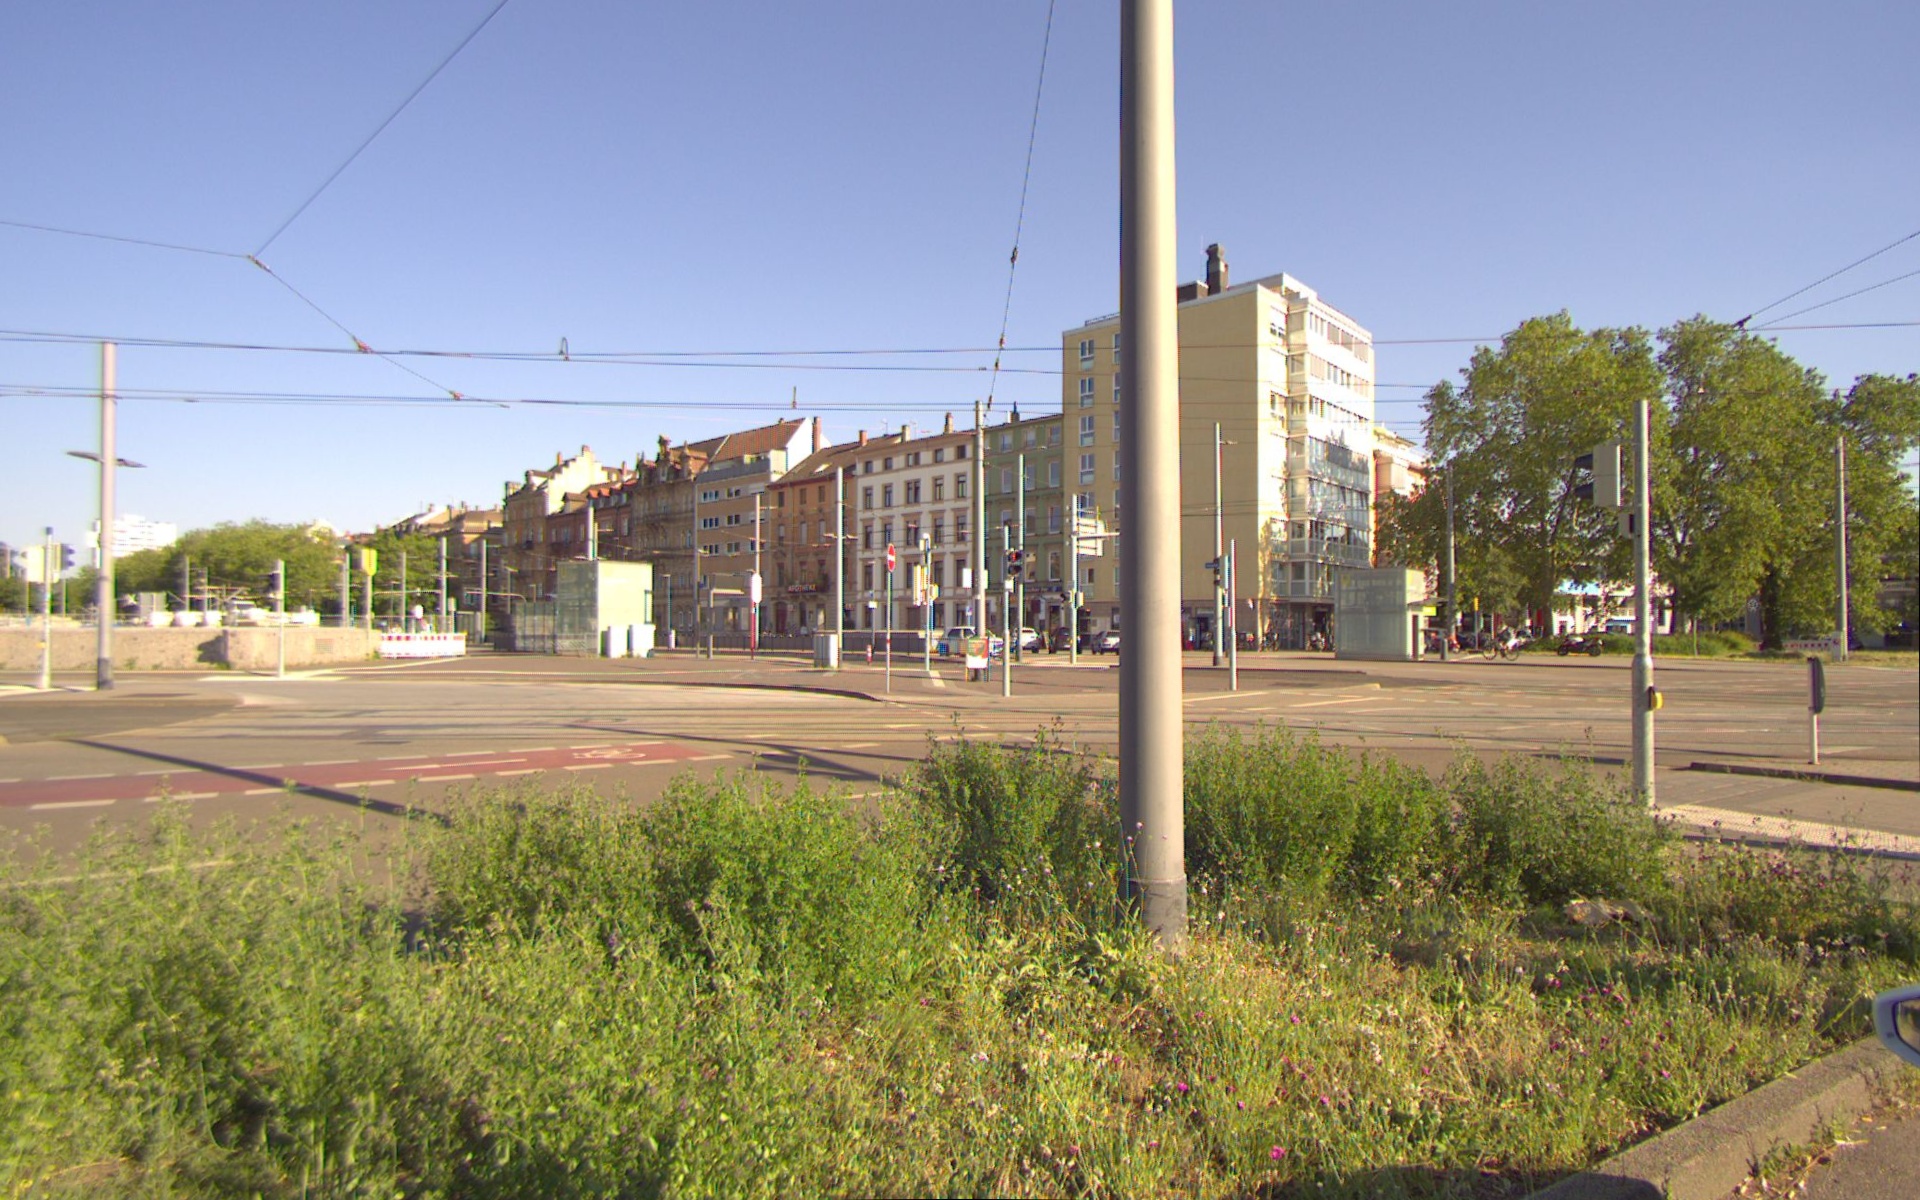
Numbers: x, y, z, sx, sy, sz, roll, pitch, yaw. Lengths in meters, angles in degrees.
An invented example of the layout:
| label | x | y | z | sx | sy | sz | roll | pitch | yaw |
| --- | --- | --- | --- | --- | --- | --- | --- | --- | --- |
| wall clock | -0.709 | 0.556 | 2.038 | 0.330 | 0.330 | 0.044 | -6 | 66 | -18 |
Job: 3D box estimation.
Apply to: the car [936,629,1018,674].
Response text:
| label | x | y | z | sx | sy | sz | roll | pitch | yaw |
| --- | --- | --- | --- | --- | --- | --- | --- | --- | --- |
| car | 0.828 | 2.530 | 49.775 | 3.692 | 2.040 | 1.990 | -1 | 0 | 41 |

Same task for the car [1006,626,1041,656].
| label | x | y | z | sx | sy | sz | roll | pitch | yaw |
| --- | --- | --- | --- | --- | --- | --- | --- | --- | --- |
| car | 4.034 | 2.622 | 64.525 | 2.045 | 1.742 | 4.010 | -1 | 0 | 1 |

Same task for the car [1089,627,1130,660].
| label | x | y | z | sx | sy | sz | roll | pitch | yaw |
| --- | --- | --- | --- | --- | --- | --- | --- | --- | --- |
| car | 8.872 | 2.546 | 59.767 | 1.803 | 1.771 | 3.999 | -1 | 0 | -1 |

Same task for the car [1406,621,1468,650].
| label | x | y | z | sx | sy | sz | roll | pitch | yaw |
| --- | --- | --- | --- | --- | --- | --- | --- | --- | --- |
| car | 34.180 | 2.533 | 72.053 | 3.925 | 2.040 | 1.998 | -1 | -2 | 26 |

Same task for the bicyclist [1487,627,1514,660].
| label | x | y | z | sx | sy | sz | roll | pitch | yaw |
| --- | --- | --- | --- | --- | --- | --- | --- | --- | --- |
| bicyclist | 26.277 | 2.102 | 48.817 | 0.957 | 1.580 | 0.914 | 2 | -2 | -45 |

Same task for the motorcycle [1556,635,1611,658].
| label | x | y | z | sx | sy | sz | roll | pitch | yaw |
| --- | --- | --- | --- | --- | --- | --- | --- | --- | --- |
| motorcycle | 31.226 | 2.320 | 50.319 | 0.682 | 1.068 | 2.264 | -1 | 0 | -42 |

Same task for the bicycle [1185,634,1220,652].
| label | x | y | z | sx | sy | sz | roll | pitch | yaw |
| --- | --- | --- | --- | --- | --- | --- | --- | --- | --- |
| bicycle | 15.625 | 2.780 | 64.741 | 2.019 | 1.104 | 0.773 | -1 | -2 | 42 |

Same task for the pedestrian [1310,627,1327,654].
| label | x | y | z | sx | sy | sz | roll | pitch | yaw |
| --- | --- | --- | --- | --- | --- | --- | --- | --- | --- |
| pedestrian | 22.429 | 2.540 | 62.893 | 0.767 | 1.698 | 0.778 | -1 | -2 | 43 |

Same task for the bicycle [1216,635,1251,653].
| label | x | y | z | sx | sy | sz | roll | pitch | yaw |
| --- | --- | --- | --- | --- | --- | --- | --- | --- | --- |
| bicycle | 17.237 | 2.760 | 63.306 | 2.019 | 1.104 | 0.773 | -1 | -2 | 42 |

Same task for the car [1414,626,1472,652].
| label | x | y | z | sx | sy | sz | roll | pitch | yaw |
| --- | --- | --- | --- | --- | --- | --- | --- | --- | --- |
| car | 36.738 | 2.970 | 76.469 | 3.925 | 1.882 | 1.851 | -1 | 0 | 26 |

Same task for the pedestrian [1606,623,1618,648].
| label | x | y | z | sx | sy | sz | roll | pitch | yaw |
| --- | --- | --- | --- | --- | --- | --- | --- | --- | --- |
| pedestrian | 52.716 | 2.890 | 81.188 | 0.702 | 2.040 | 0.586 | 1 | -1 | -30 |

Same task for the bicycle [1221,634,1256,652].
| label | x | y | z | sx | sy | sz | roll | pitch | yaw |
| --- | --- | --- | --- | --- | --- | --- | --- | --- | --- |
| bicycle | 17.752 | 2.752 | 63.978 | 2.019 | 1.104 | 0.773 | -1 | -2 | 42 |

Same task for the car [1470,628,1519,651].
| label | x | y | z | sx | sy | sz | roll | pitch | yaw |
| --- | --- | --- | --- | --- | --- | --- | --- | --- | --- |
| car | 35.757 | 2.652 | 67.210 | 3.974 | 1.471 | 1.828 | 2 | -2 | -45 |

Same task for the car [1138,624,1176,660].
| label | x | y | z | sx | sy | sz | roll | pitch | yaw |
| --- | --- | --- | --- | --- | --- | --- | --- | --- | --- |
| car | 11.348 | 2.372 | 57.986 | 1.815 | 1.882 | 4.002 | -1 | 0 | 6 |

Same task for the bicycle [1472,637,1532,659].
| label | x | y | z | sx | sy | sz | roll | pitch | yaw |
| --- | --- | --- | --- | --- | --- | --- | --- | --- | --- |
| bicycle | 26.308 | 2.328 | 48.780 | 0.957 | 1.016 | 2.414 | 2 | -2 | -44 |

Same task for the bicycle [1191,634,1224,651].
| label | x | y | z | sx | sy | sz | roll | pitch | yaw |
| --- | --- | --- | --- | --- | --- | --- | --- | --- | --- |
| bicycle | 16.128 | 2.773 | 65.455 | 2.019 | 1.104 | 0.773 | -1 | -2 | 42 |

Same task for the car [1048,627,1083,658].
| label | x | y | z | sx | sy | sz | roll | pitch | yaw |
| --- | --- | --- | --- | --- | --- | --- | --- | --- | --- |
| car | 6.503 | 2.591 | 62.005 | 1.803 | 1.742 | 4.000 | -1 | 0 | 1 |
